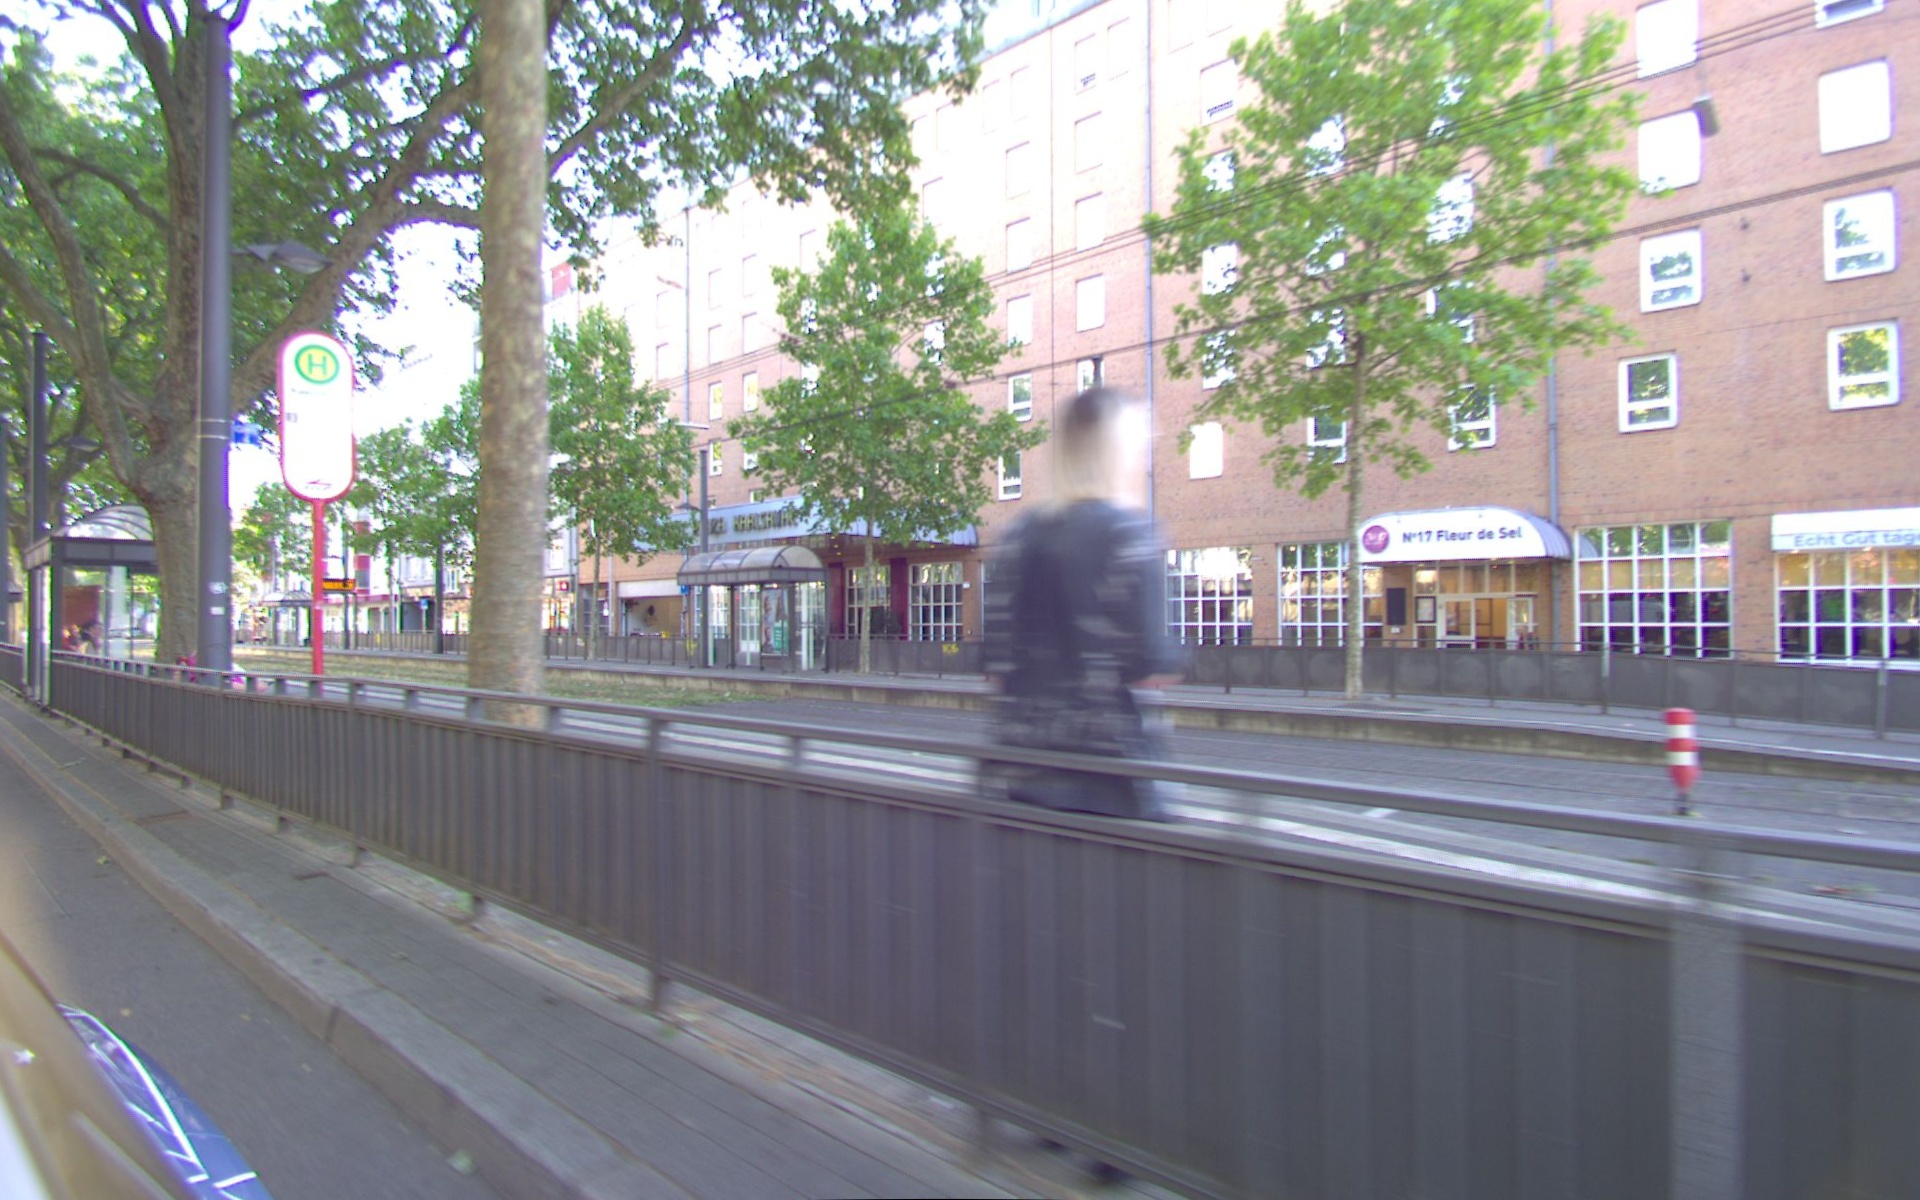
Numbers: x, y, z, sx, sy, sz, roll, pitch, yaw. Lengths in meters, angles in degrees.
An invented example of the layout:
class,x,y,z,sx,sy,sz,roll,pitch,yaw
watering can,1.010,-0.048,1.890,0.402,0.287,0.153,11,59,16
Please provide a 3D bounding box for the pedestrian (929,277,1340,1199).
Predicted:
class,x,y,z,sx,sy,sz,roll,pitch,yaw
pedestrian,0.390,0.353,2.338,0.759,1.914,0.504,-1,0,42

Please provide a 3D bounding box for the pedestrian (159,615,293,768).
class,x,y,z,sx,sy,sz,roll,pitch,yaw
pedestrian,-7.271,0.863,10.034,0.664,1.410,0.965,-1,0,45

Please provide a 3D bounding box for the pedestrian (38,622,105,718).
class,x,y,z,sx,sy,sz,roll,pitch,yaw
pedestrian,-13.497,1.042,15.375,0.725,1.398,0.641,-1,0,-45
